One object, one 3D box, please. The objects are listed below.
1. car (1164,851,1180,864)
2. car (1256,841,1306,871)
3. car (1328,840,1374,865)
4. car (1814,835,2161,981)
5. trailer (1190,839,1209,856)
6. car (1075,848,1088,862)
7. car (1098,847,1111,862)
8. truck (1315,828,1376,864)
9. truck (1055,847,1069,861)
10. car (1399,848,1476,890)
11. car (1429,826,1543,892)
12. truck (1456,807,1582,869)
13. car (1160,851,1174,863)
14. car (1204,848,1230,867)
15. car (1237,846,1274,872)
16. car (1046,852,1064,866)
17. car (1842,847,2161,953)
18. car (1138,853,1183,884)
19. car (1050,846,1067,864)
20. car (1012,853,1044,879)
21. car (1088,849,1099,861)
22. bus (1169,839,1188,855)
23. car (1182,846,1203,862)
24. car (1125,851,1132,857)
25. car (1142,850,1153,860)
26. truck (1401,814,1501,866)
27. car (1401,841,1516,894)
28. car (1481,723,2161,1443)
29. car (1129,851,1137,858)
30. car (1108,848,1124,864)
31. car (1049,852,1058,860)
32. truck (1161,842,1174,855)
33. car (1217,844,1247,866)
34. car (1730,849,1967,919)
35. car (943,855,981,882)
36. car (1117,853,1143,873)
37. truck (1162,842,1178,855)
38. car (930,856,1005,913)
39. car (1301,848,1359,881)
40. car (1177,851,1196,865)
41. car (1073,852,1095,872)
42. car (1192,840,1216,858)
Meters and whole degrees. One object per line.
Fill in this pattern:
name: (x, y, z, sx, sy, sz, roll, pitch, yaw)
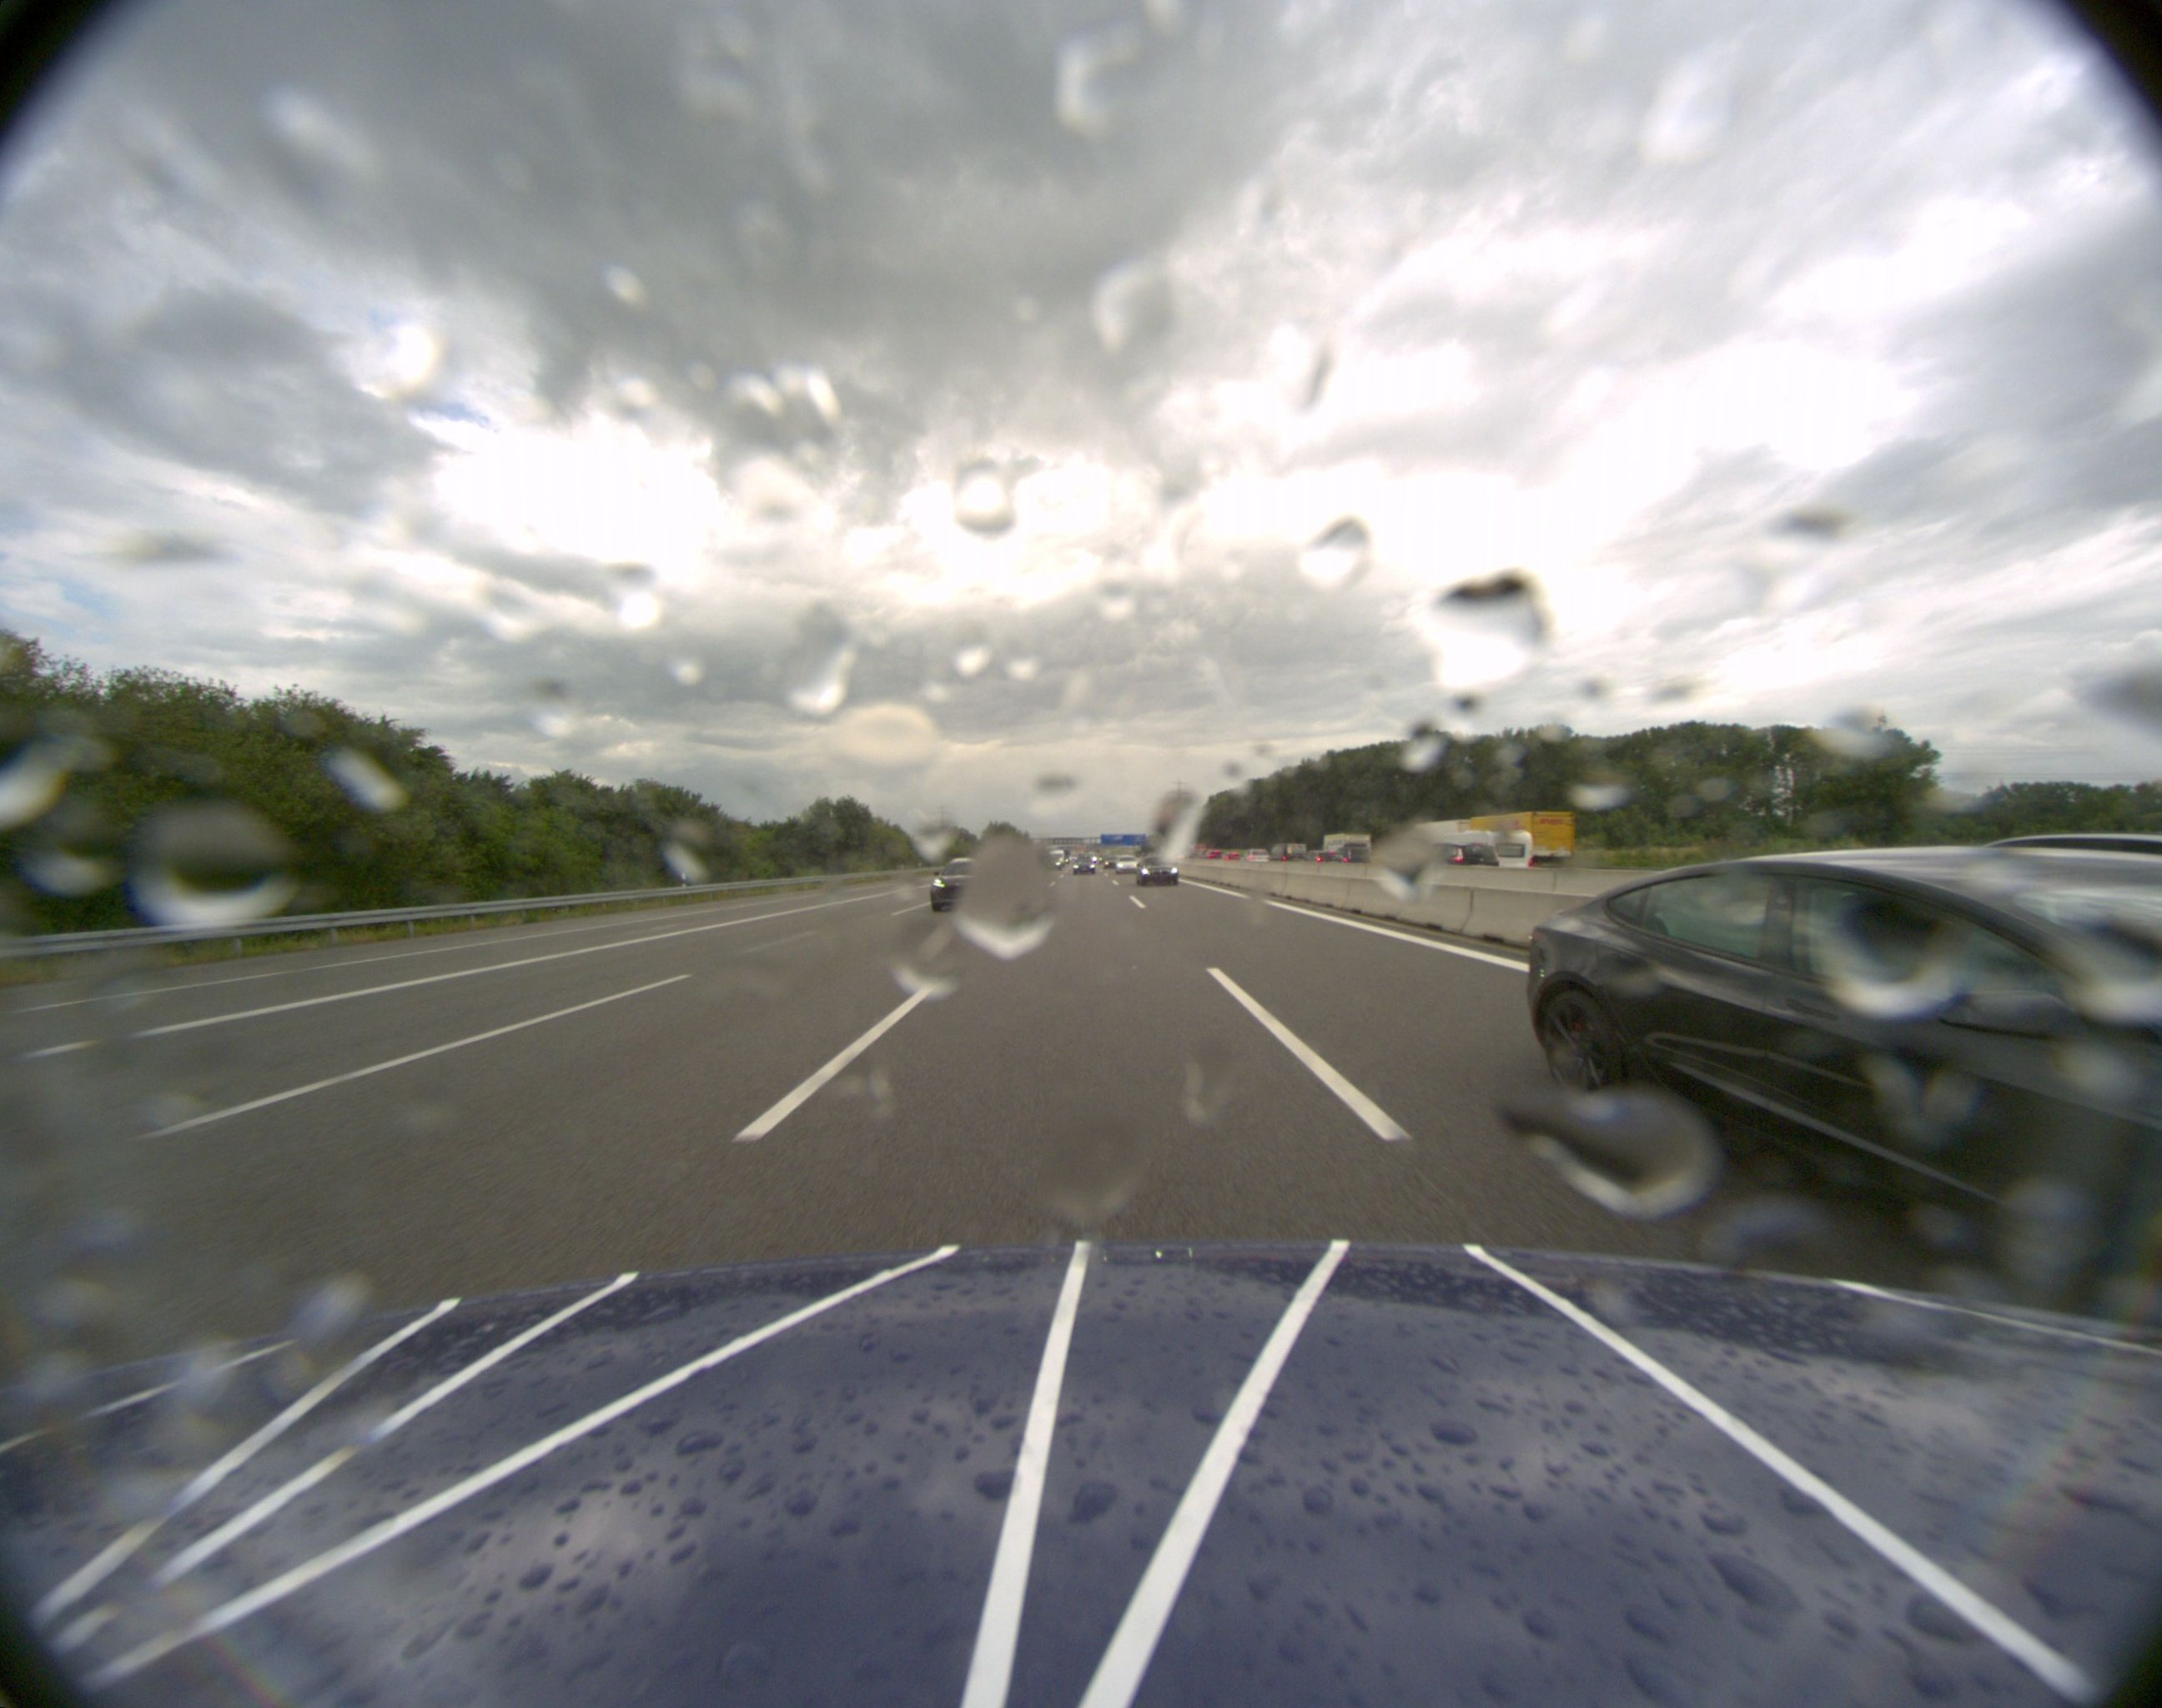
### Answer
car: (14.945, 0.607, 125.294, 1.998, 2.002, 4.696, -2, 0, 0)
car: (14.243, 0.133, 54.372, 1.998, 2.002, 5.757, -2, 0, 0)
car: (22.481, -0.122, 63.499, 1.998, 2.002, 5.097, -2, 0, 1)
car: (13.825, 0.621, 10.862, 1.998, 1.704, 4.871, -2, 0, 0)
trailer: (26.491, -1.423, 170.592, 2.867, 3.740, 9.160, -1, 0, 0)
car: (0.111, 0.164, 136.010, 2.145, 2.486, 5.448, -2, 0, 1)
car: (4.106, 0.088, 130.536, 2.145, 2.486, 5.448, -2, 0, 2)
truck: (26.523, -0.783, 76.771, 2.917, 3.271, 9.201, -2, 0, 0)
truck: (-3.771, 0.012, 150.209, 2.392, 2.726, 6.592, -2, 0, -3)
car: (17.669, 0.704, 37.874, 1.998, 1.892, 4.000, -2, 0, 1)
car: (22.023, 0.241, 41.732, 2.667, 3.258, 6.561, -2, 0, 0)
truck: (28.340, -0.975, 49.881, 2.885, 3.591, 9.580, -2, 0, 1)
car: (14.884, 0.529, 131.629, 1.998, 1.955, 4.696, -2, 0, 0)
car: (14.535, 0.332, 81.585, 1.998, 1.892, 4.503, -2, 0, 1)
car: (14.332, 0.370, 62.521, 1.998, 2.002, 4.424, -2, 0, 0)
car: (-2.892, 0.539, 86.171, 1.945, 1.482, 4.774, -2, 0, -2)
car: (18.251, 0.755, 14.879, 1.998, 1.704, 4.699, -2, 0, 0)
car: (3.845, 0.696, 37.363, 1.922, 1.407, 4.000, -1, 0, 2)
car: (-3.206, 0.126, 107.233, 2.145, 2.486, 5.447, -2, 0, 0)
car: (-3.513, 0.745, 51.172, 1.711, 1.621, 4.457, -2, 0, 2)
car: (2.535, 0.162, 150.952, 2.145, 2.340, 5.448, -2, 0, 1)
bus: (22.387, -1.551, 175.134, 2.694, 3.365, 13.997, -2, 0, 0)
car: (14.798, -0.009, 101.019, 1.998, 2.002, 5.418, -2, 0, 0)
car: (14.367, -0.116, 230.887, 1.808, 1.709, 4.000, -2, 0, 0)
car: (14.667, 0.198, 167.522, 1.998, 1.955, 4.696, -2, 0, 0)
truck: (28.549, -1.016, 59.334, 2.885, 3.591, 10.312, -2, 0, 1)
car: (14.045, 0.448, 28.614, 1.998, 1.771, 4.673, -2, 0, 0)
car: (3.708, 0.548, 2.591, 1.998, 1.810, 5.162, -2, 0, 1)
car: (14.117, 0.068, 207.109, 1.998, 1.955, 4.696, -2, 0, 0)
car: (3.865, 0.216, 84.616, 1.711, 1.621, 4.000, -2, 0, 2)
car: (-6.918, 0.544, 192.417, 1.999, 2.002, 4.354, -2, 0, -1)
truck: (25.963, -1.583, 229.288, 3.158, 3.690, 6.318, -2, 0, 0)
car: (14.422, 0.113, 72.805, 1.998, 2.002, 4.686, -2, 0, 0)
car: (21.516, 0.759, 21.654, 1.998, 1.704, 4.699, -2, 0, 0)
car: (-7.708, 0.910, 49.610, 1.815, 1.589, 4.695, -2, 0, -1)
car: (3.974, 0.696, 61.860, 1.822, 1.565, 4.000, -2, 0, 1)
truck: (26.010, -1.608, 222.870, 3.157, 3.723, 13.298, -2, 0, 0)
car: (-3.562, 0.900, 24.643, 1.785, 1.603, 4.597, -2, 0, -1)
car: (13.960, 0.571, 42.832, 1.998, 1.739, 4.000, -2, 0, 0)
car: (15.394, 0.583, 111.043, 1.998, 2.002, 4.972, -2, 0, 0)
car: (0.268, 0.672, 64.547, 1.711, 1.562, 4.346, -2, 0, 2)
car: (14.714, -0.593, 90.968, 1.998, 2.002, 5.418, -2, 0, 0)
